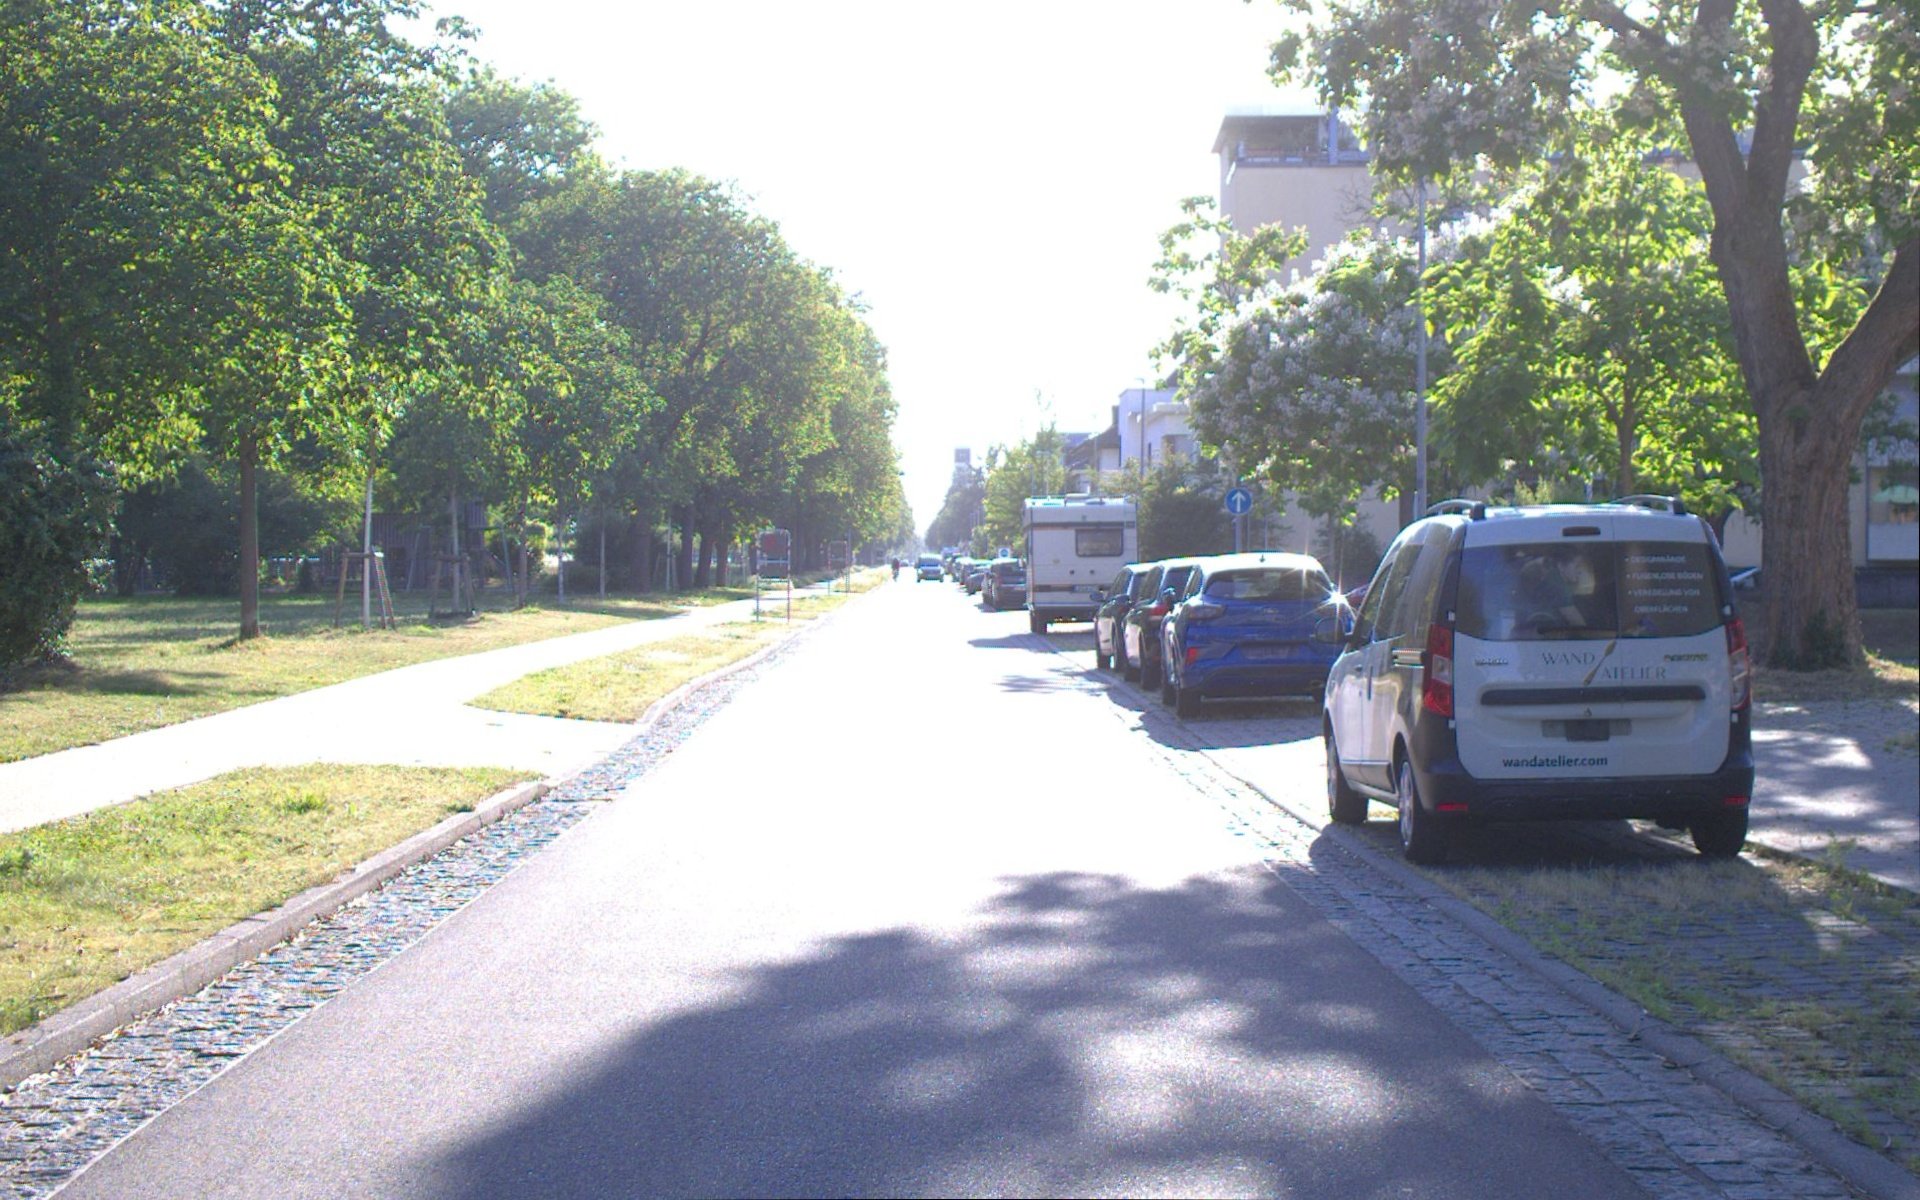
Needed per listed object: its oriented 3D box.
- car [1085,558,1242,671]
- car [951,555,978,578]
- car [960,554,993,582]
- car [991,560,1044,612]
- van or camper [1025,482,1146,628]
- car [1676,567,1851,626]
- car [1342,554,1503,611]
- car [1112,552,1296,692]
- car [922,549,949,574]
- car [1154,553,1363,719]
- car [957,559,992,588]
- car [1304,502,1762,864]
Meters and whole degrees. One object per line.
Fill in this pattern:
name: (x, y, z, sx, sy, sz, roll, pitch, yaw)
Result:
car: (2.732, 0.179, 47.016, 1.626, 1.459, 4.250, 0, 0, -4)
car: (0.278, -2.058, 214.223, 1.626, 1.405, 4.249, 0, 0, -1)
car: (0.847, -1.638, 177.957, 1.626, 1.405, 4.249, 0, 0, -1)
car: (1.869, -0.449, 113.026, 1.626, 1.663, 4.249, 0, 0, -1)
van or camper: (2.571, -0.879, 71.771, 2.234, 2.894, 5.673, 0, -1, -1)
car: (20.145, -0.092, 86.149, 4.198, 1.458, 1.692, 0, 0, 15)
car: (12.569, -0.479, 93.604, 4.195, 1.525, 2.000, 0, 0, 4)
car: (2.811, 0.235, 40.432, 1.731, 1.545, 4.423, 0, 0, -2)
car: (-1.650, -2.562, 230.247, 1.825, 1.663, 4.249, 0, 0, -1)
car: (2.903, 0.326, 34.180, 1.732, 1.545, 4.275, 0, 0, 1)
car: (0.690, -1.272, 166.693, 1.626, 1.405, 4.249, 0, 0, -1)
car: (2.978, 0.390, 18.759, 1.678, 1.734, 4.514, 0, 0, -1)
